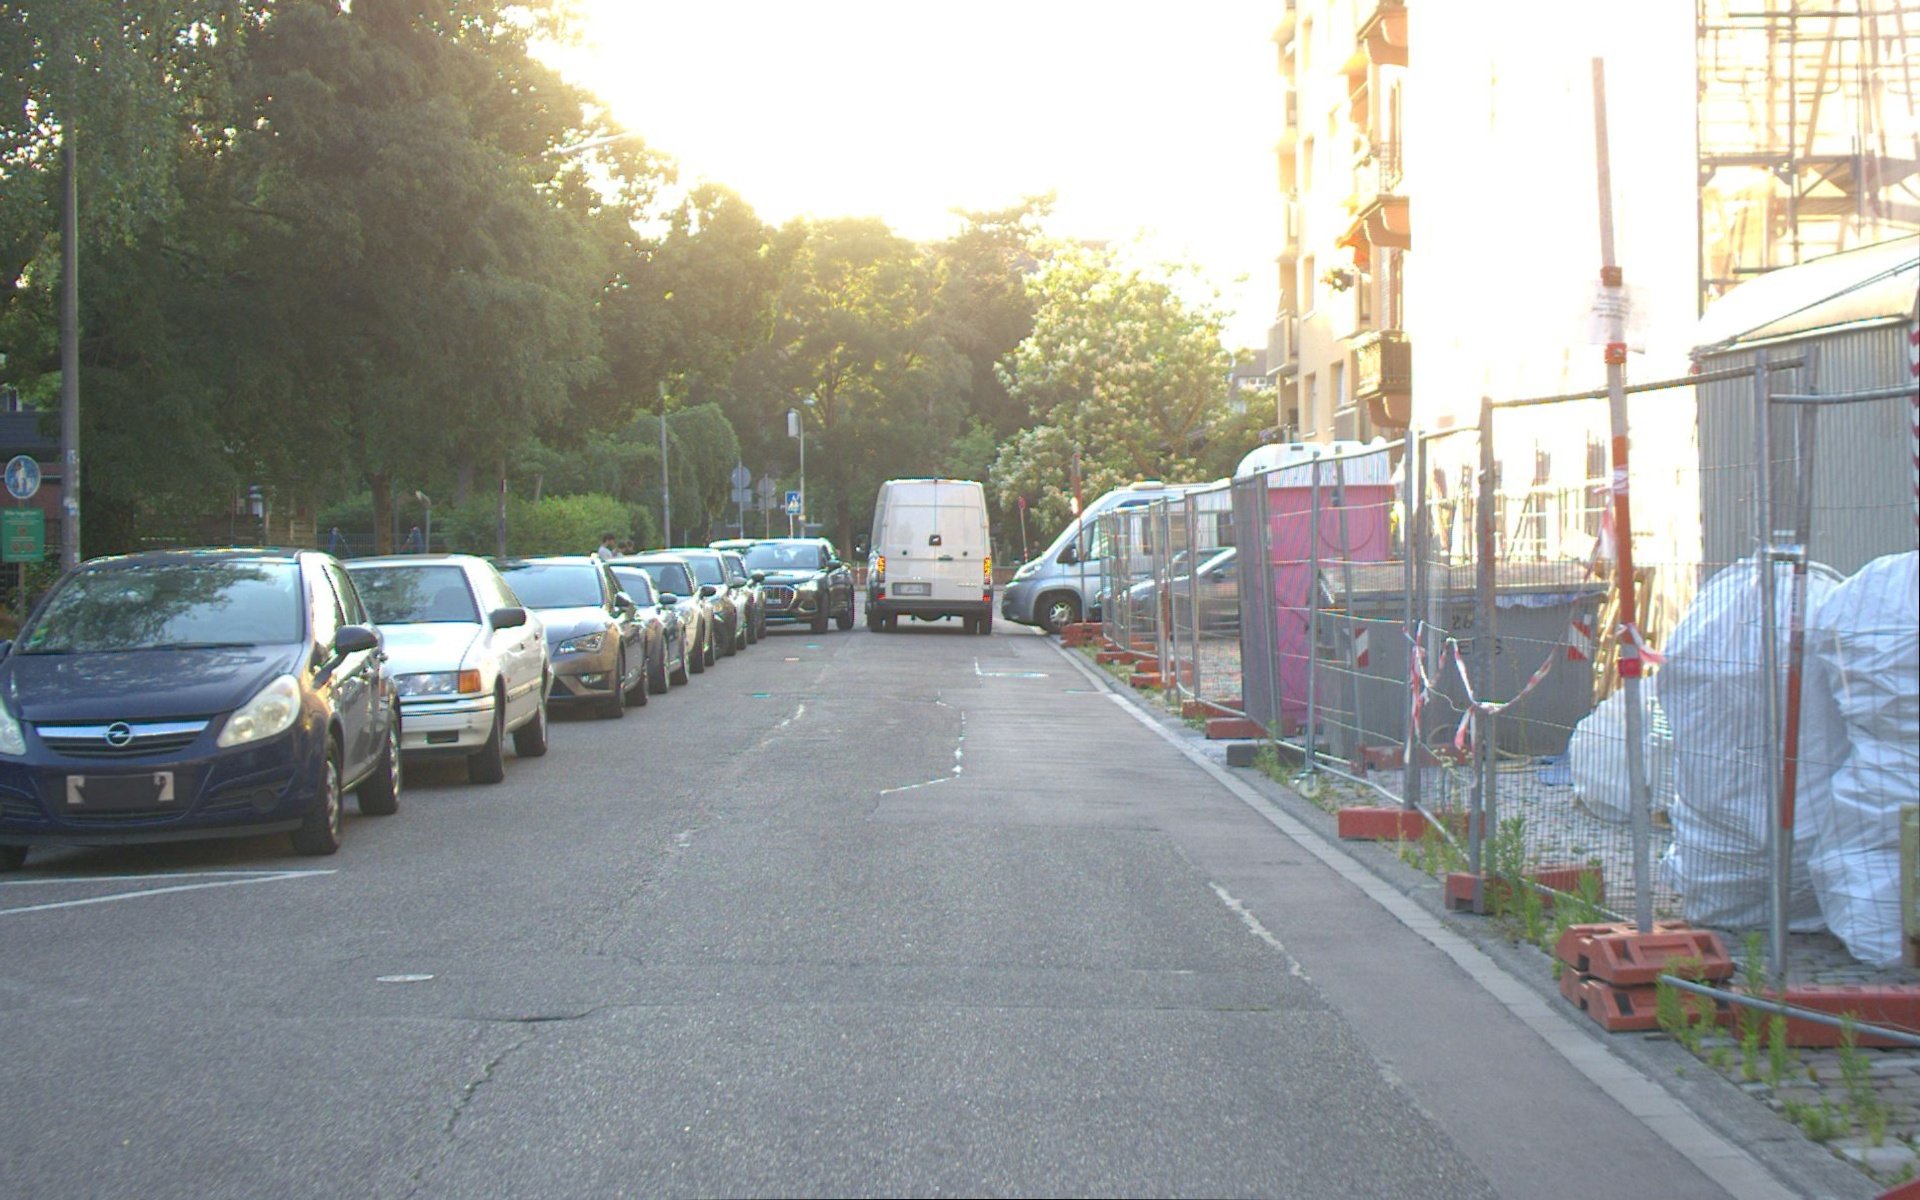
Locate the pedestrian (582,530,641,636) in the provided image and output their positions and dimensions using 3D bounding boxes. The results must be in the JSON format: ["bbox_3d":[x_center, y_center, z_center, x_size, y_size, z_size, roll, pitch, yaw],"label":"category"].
[{"bbox_3d":[-6.059,-0.295,59.846,0.937,1.824,0.787,1,1,-2],"label":"pedestrian"}]

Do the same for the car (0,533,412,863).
[{"bbox_3d":[-3.930,0.398,17.100,1.993,1.448,4.001,0,1,-3],"label":"car"}]

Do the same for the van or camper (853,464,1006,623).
[{"bbox_3d":[-0.514,-0.975,59.698,2.453,2.538,6.083,2,1,0],"label":"van or camper"}]

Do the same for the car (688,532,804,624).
[{"bbox_3d":[-4.025,-0.437,65.208,1.783,1.625,4.000,-2,1,2],"label":"car"}]

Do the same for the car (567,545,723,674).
[{"bbox_3d":[-3.818,0.084,42.125,1.601,1.426,3.804,-3,1,-2],"label":"car"}]

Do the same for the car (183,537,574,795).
[{"bbox_3d":[-3.689,0.352,22.615,1.782,1.440,4.749,-3,1,-1],"label":"car"}]

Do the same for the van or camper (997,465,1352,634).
[{"bbox_3d":[3.653,-0.873,59.358,5.928,2.760,2.110,1,1,-1],"label":"van or camper"}]

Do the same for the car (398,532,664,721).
[{"bbox_3d":[-3.786,0.185,31.077,1.860,1.532,4.759,-1,1,-1],"label":"car"}]

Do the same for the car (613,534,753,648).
[{"bbox_3d":[-3.867,-0.151,48.531,1.715,1.491,4.361,-2,1,-2],"label":"car"}]

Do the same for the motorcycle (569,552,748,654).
[{"bbox_3d":[-3.976,0.035,45.340,2.165,1.299,0.879,1,1,14],"label":"motorcycle"}]

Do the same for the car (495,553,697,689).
[{"bbox_3d":[-3.789,0.185,36.365,1.659,1.309,4.155,-1,1,0],"label":"car"}]

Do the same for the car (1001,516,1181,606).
[{"bbox_3d":[3.333,-1.001,88.419,4.495,2.223,2.032,1,1,-1],"label":"car"}]

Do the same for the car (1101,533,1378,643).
[{"bbox_3d":[4.341,-0.197,53.787,3.986,1.510,2.020,-3,1,-5],"label":"car"}]

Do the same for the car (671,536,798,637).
[{"bbox_3d":[-3.485,-0.234,53.680,1.637,1.473,3.992,-2,1,1],"label":"car"}]

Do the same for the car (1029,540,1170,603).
[{"bbox_3d":[4.024,-0.832,99.464,3.987,1.722,2.000,1,1,0],"label":"car"}]

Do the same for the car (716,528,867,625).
[{"bbox_3d":[-2.825,-0.416,58.469,1.805,1.564,4.564,-1,1,7],"label":"car"}]
